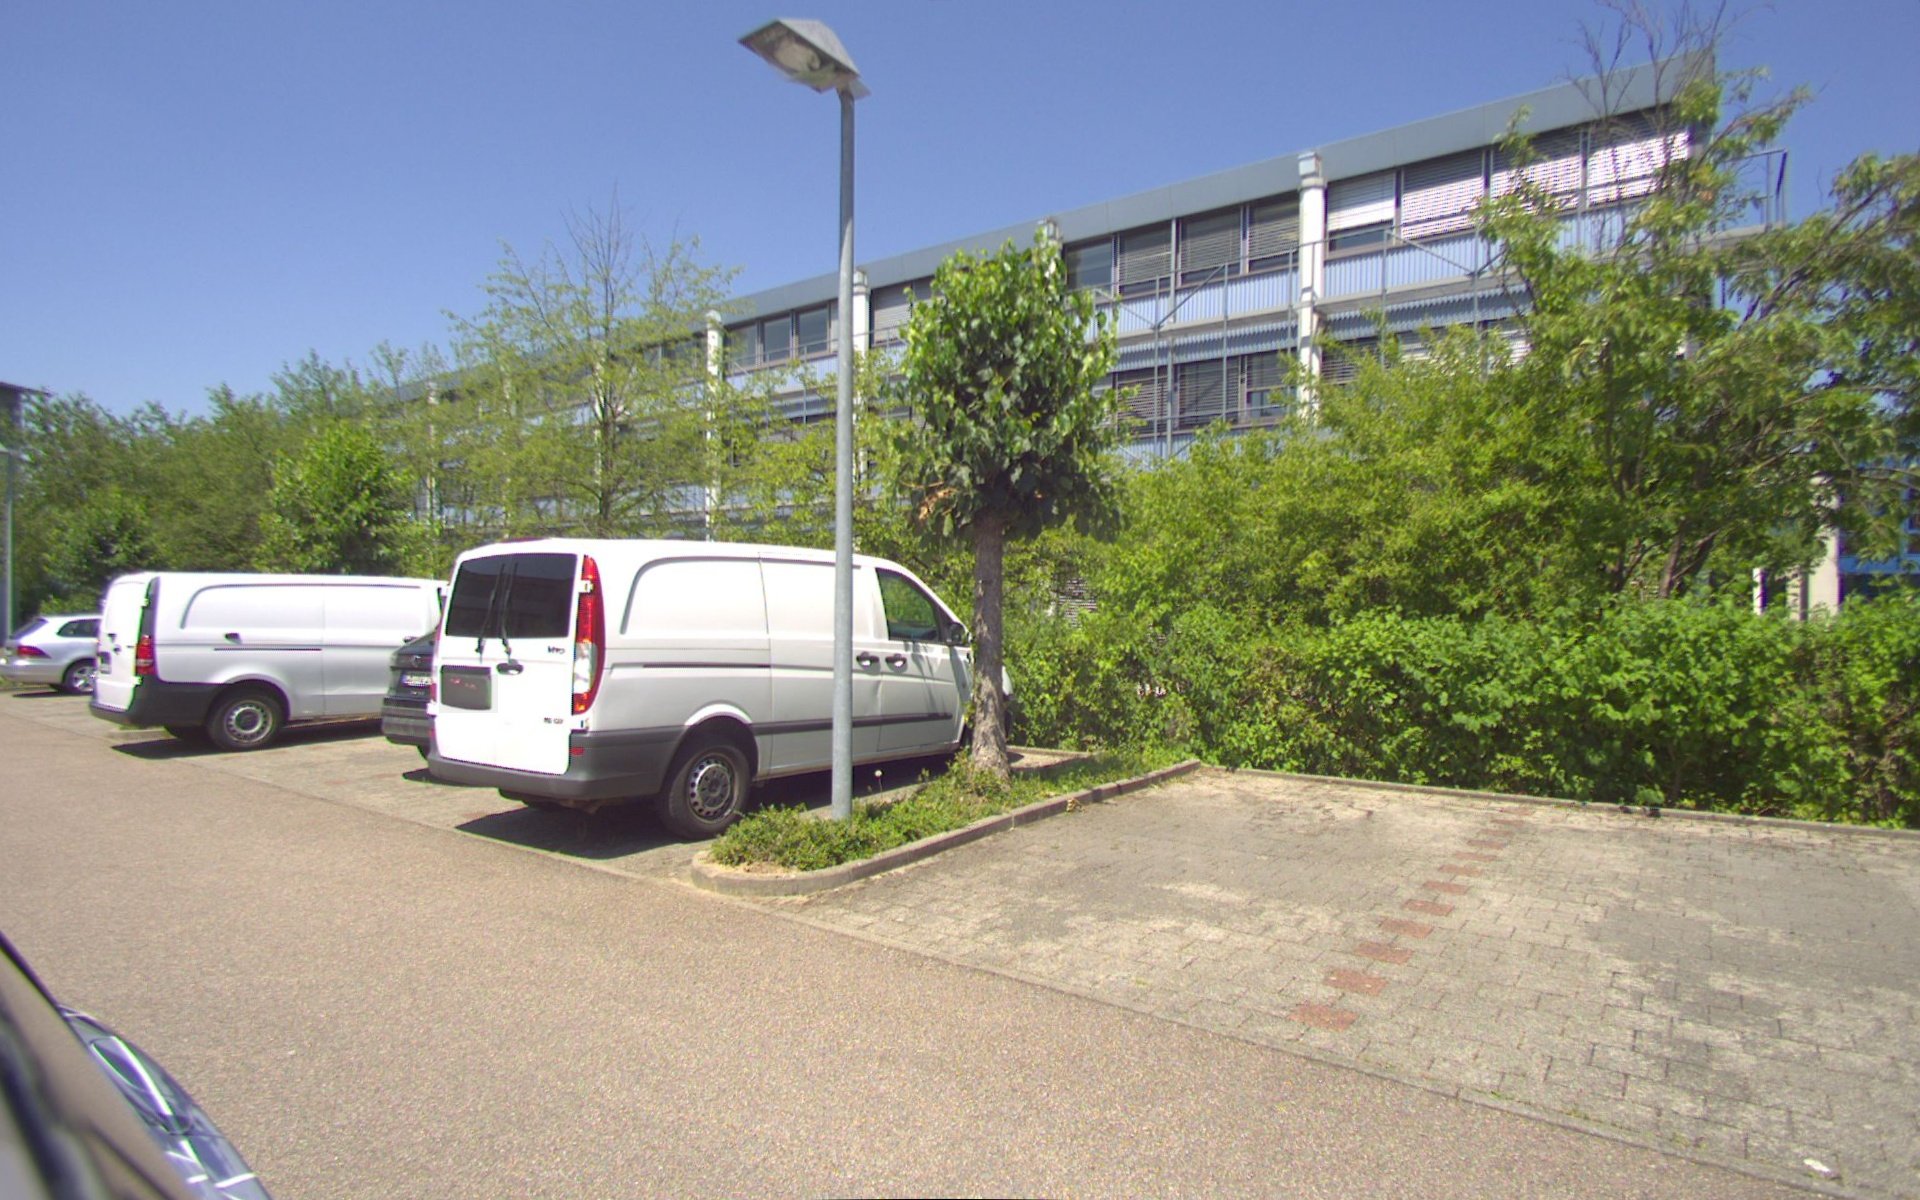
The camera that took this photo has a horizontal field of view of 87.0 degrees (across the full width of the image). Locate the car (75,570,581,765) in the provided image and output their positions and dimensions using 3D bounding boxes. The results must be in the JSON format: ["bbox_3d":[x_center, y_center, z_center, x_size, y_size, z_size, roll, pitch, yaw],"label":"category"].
[{"bbox_3d":[-7.302,0.671,12.224,1.854,1.870,4.871,-1,-1,38],"label":"car"}]

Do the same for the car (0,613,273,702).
[{"bbox_3d":[-15.746,1.008,19.331,1.738,1.495,4.031,-1,-1,39],"label":"car"}]

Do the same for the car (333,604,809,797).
[{"bbox_3d":[-3.581,0.804,10.028,1.736,1.495,4.146,-1,-1,36],"label":"car"}]

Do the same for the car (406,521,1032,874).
[{"bbox_3d":[-1.461,0.547,7.818,1.865,1.874,4.620,-1,-1,36],"label":"car"}]
